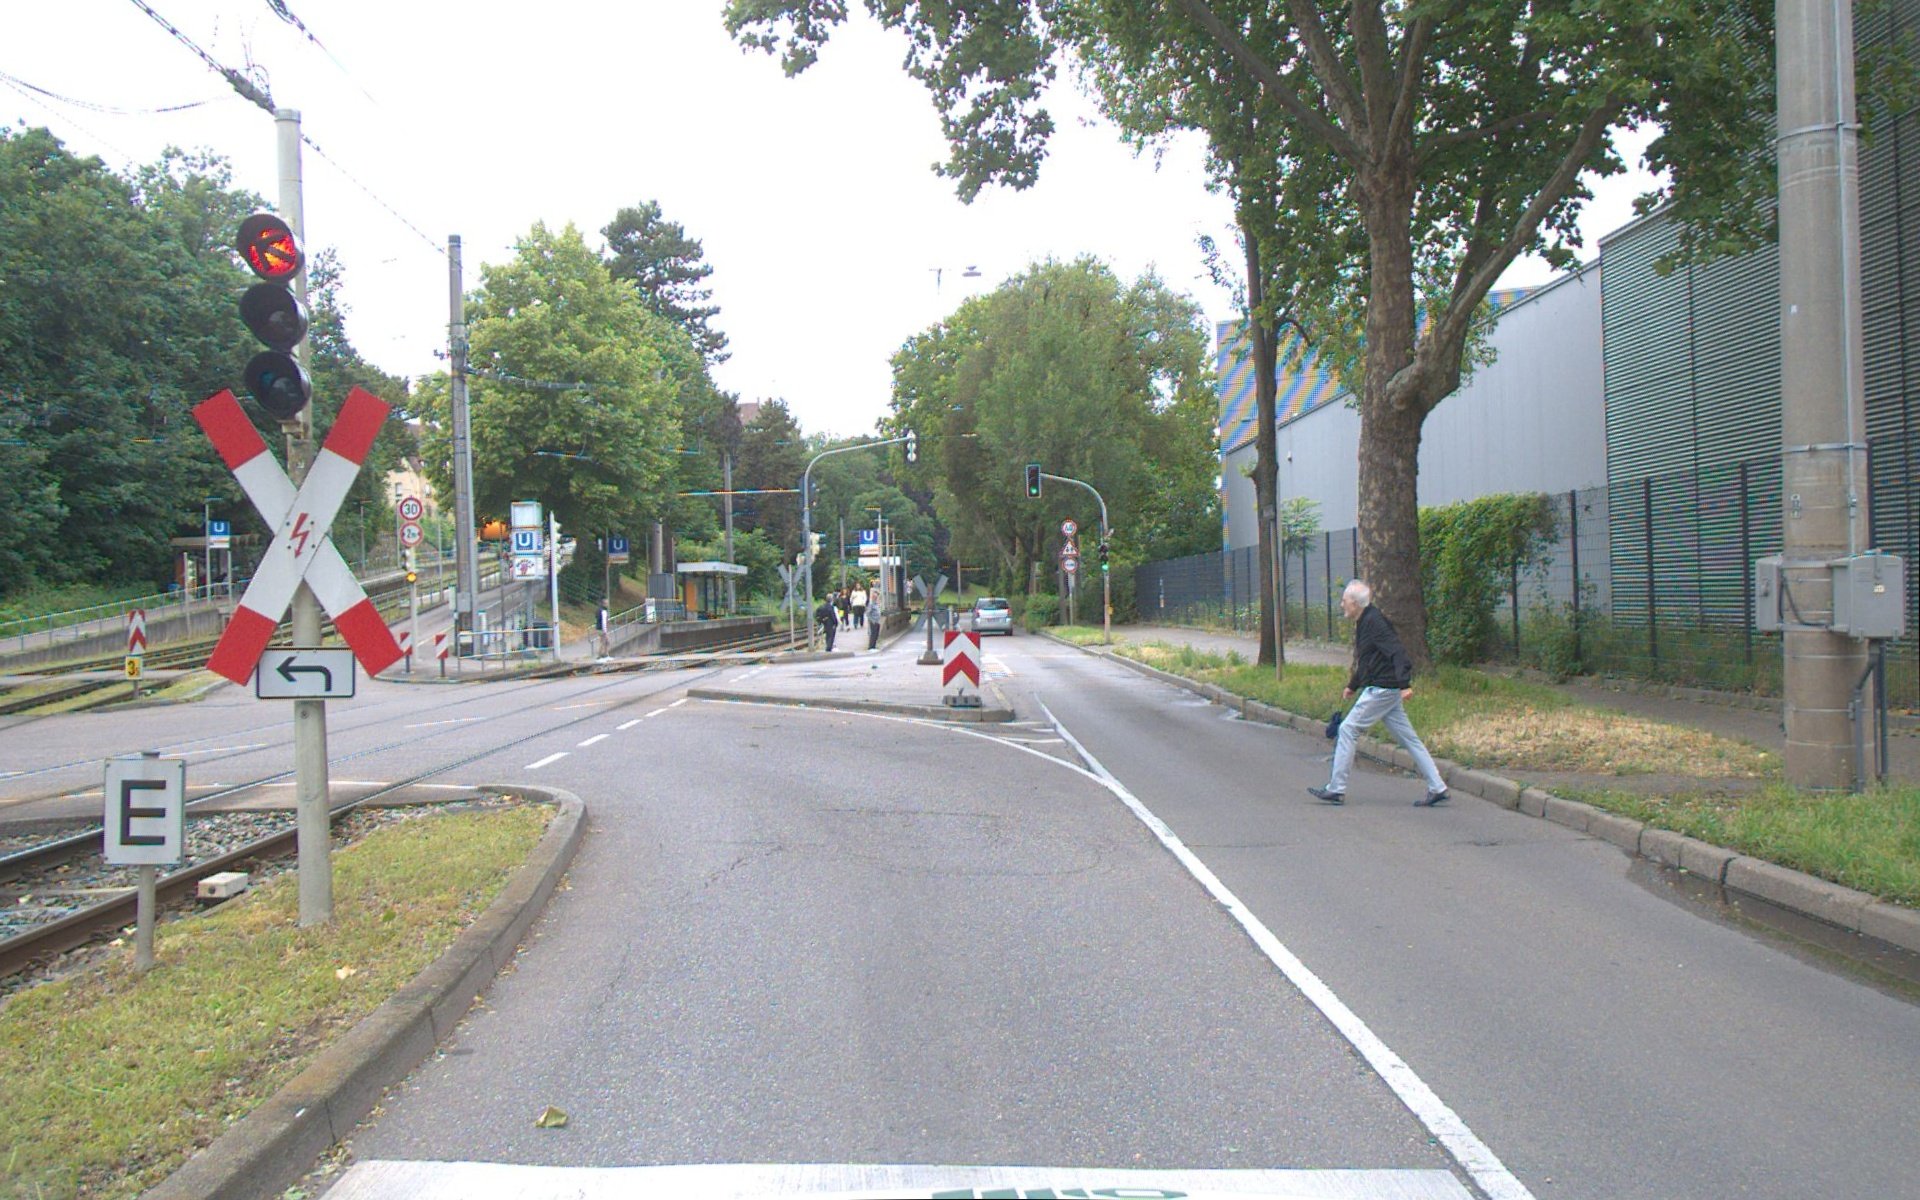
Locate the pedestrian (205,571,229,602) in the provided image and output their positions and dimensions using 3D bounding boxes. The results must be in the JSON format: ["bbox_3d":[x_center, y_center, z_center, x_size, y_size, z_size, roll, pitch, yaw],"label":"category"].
[{"bbox_3d":[-33.412,-0.602,74.368,0.757,1.349,0.786,1,2,-9],"label":"pedestrian"}]

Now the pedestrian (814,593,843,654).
[{"bbox_3d":[-3.722,0.671,46.871,0.720,1.694,0.682,1,-1,1],"label":"pedestrian"}]

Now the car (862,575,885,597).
[{"bbox_3d":[-8.149,-1.331,156.509,1.953,2.049,3.999,1,0,-1],"label":"car"}]

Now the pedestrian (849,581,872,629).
[{"bbox_3d":[-3.543,0.182,58.885,0.722,1.694,0.680,1,-1,-11],"label":"pedestrian"}]

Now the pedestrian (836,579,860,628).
[{"bbox_3d":[-3.923,0.130,57.874,0.722,1.694,0.680,1,-1,-11],"label":"pedestrian"}]

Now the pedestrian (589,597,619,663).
[{"bbox_3d":[-10.116,0.857,46.974,0.789,1.853,0.668,1,-1,-14],"label":"pedestrian"}]

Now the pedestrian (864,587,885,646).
[{"bbox_3d":[-2.626,0.506,50.736,0.538,1.789,0.738,1,-1,4],"label":"pedestrian"}]

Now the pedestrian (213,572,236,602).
[{"bbox_3d":[-33.538,-0.599,75.455,0.757,1.349,0.785,1,0,-9],"label":"pedestrian"}]

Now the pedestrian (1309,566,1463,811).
[{"bbox_3d":[3.270,0.651,12.712,1.093,1.791,0.814,1,0,15],"label":"pedestrian"}]

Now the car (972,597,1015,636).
[{"bbox_3d":[1.420,0.705,71.476,1.708,1.627,3.999,1,0,-1],"label":"car"}]

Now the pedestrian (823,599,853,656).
[{"bbox_3d":[-3.660,0.820,49.521,0.665,1.694,0.738,1,-1,14],"label":"pedestrian"}]
